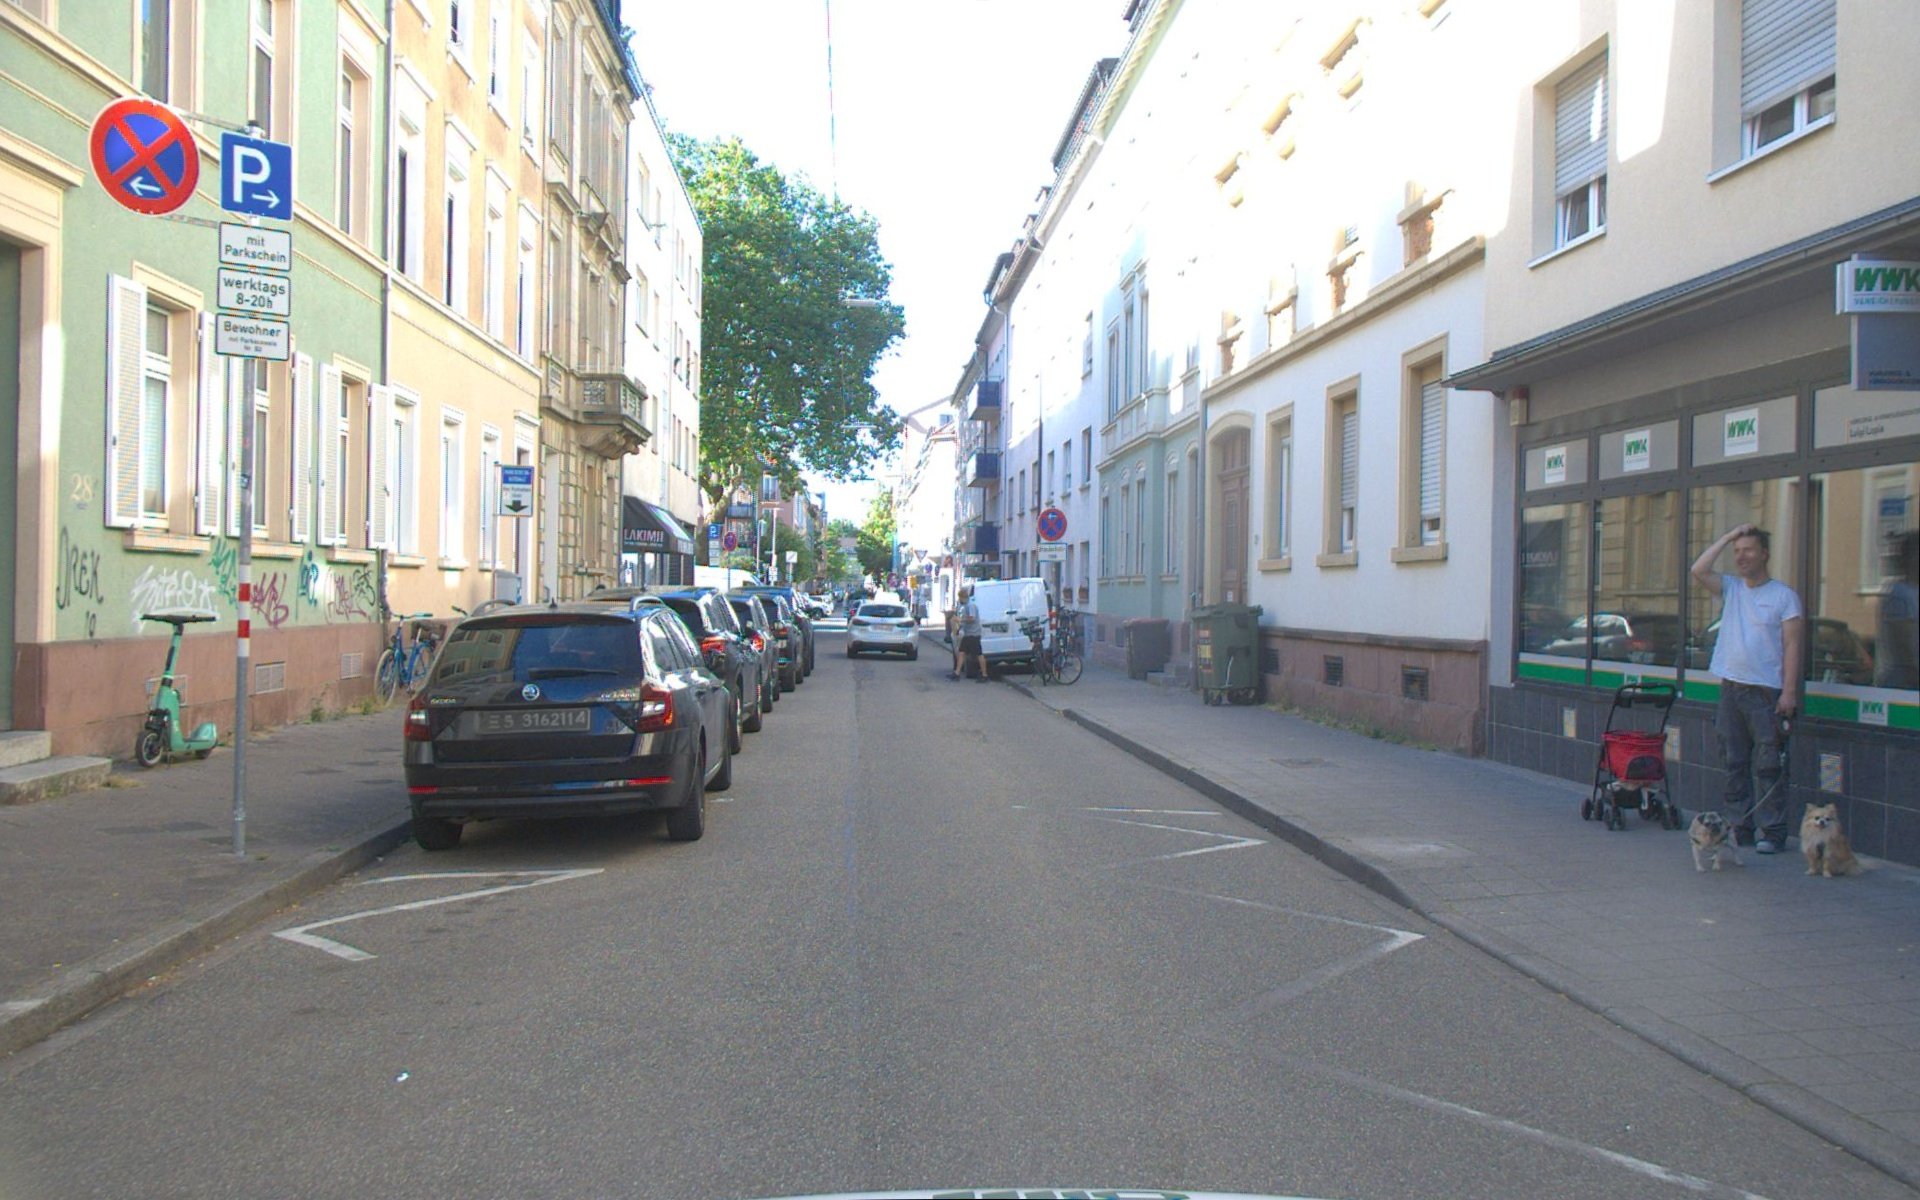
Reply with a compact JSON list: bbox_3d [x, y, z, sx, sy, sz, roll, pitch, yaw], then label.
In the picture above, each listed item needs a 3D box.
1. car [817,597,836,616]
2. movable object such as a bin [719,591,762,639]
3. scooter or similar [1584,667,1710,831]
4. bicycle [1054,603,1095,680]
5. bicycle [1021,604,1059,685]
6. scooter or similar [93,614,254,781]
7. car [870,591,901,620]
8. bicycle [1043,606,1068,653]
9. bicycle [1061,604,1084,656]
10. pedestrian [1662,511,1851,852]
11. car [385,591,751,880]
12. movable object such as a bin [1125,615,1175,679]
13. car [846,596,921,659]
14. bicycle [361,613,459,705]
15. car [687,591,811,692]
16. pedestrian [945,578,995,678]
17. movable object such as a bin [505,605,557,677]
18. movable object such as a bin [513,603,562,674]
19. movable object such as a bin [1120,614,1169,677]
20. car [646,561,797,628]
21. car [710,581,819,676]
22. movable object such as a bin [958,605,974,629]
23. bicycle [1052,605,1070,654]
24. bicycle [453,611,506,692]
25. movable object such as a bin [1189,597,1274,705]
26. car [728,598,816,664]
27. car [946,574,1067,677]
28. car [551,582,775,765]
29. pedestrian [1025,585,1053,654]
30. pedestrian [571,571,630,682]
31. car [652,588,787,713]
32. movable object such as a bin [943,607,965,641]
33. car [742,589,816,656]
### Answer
[{"bbox_3d":[-11.757,0.558,145.998,1.541,1.613,3.608,1,-1,-3],"label":"car"},{"bbox_3d":[-7.235,0.498,54.530,1.271,1.524,1.177,2,-1,-4],"label":"movable object such as a bin"},{"bbox_3d":[4.387,0.935,10.606,0.480,0.961,0.868,0,1,3],"label":"scooter or similar"},{"bbox_3d":[2.015,0.716,29.404,0.563,1.293,2.199,-1,0,0],"label":"bicycle"},{"bbox_3d":[1.397,0.758,29.038,0.563,1.344,2.199,0,0,0],"label":"bicycle"},{"bbox_3d":[-6.065,0.716,12.845,0.444,1.202,1.690,1,-1,-1],"label":"scooter or similar"},{"bbox_3d":[-5.318,0.368,117.400,1.905,1.982,4.073,2,0,-6],"label":"car"},{"bbox_3d":[2.482,0.762,43.239,0.557,1.173,1.868,1,-1,1],"label":"bicycle"},{"bbox_3d":[2.768,0.732,40.830,0.397,1.227,2.159,1,-1,-1],"label":"bicycle"},{"bbox_3d":[4.644,0.442,9.659,0.640,1.892,0.743,-1,1,-26],"label":"pedestrian"},{"bbox_3d":[-2.433,0.734,11.430,1.680,1.514,4.847,-2,0,-4],"label":"car"},{"bbox_3d":[3.364,0.832,29.351,0.781,1.115,0.642,1,-1,-2],"label":"movable object such as a bin"},{"bbox_3d":[-2.013,0.679,42.693,1.788,1.540,3.820,1,0,-4],"label":"car"},{"bbox_3d":[-6.561,0.685,19.816,0.353,1.046,1.918,1,-1,6],"label":"bicycle"},{"bbox_3d":[-3.467,0.640,27.808,1.679,1.558,4.365,0,0,-2],"label":"car"},{"bbox_3d":[0.183,0.532,31.373,0.849,1.869,0.882,1,-1,-6],"label":"pedestrian"},{"bbox_3d":[-6.862,0.656,26.485,0.721,1.108,0.682,1,1,-8],"label":"movable object such as a bin"},{"bbox_3d":[-6.918,0.630,27.103,0.706,1.152,0.584,1,-1,-8],"label":"movable object such as a bin"},{"bbox_3d":[3.344,0.819,30.023,0.796,1.107,0.673,1,-1,-2],"label":"movable object such as a bin"},{"bbox_3d":[-11.038,-0.237,76.956,6.605,2.599,2.144,4,-1,-2],"label":"car"},{"bbox_3d":[-3.856,0.534,33.309,1.898,1.766,5.138,0,0,-4],"label":"car"},{"bbox_3d":[0.260,0.758,75.127,0.687,1.092,0.596,1,-1,-2],"label":"movable object such as a bin"},{"bbox_3d":[2.564,0.743,42.153,0.428,1.227,2.267,1,-1,3],"label":"bicycle"},{"bbox_3d":[-6.717,0.701,23.160,0.394,1.074,1.834,1,-1,-7],"label":"bicycle"},{"bbox_3d":[3.722,0.701,22.772,0.821,1.414,1.295,-1,-2,-5],"label":"movable object such as a bin"},{"bbox_3d":[-4.374,0.710,39.080,1.809,1.442,4.814,-1,-1,-4],"label":"car"},{"bbox_3d":[0.888,0.478,34.975,1.944,1.916,5.595,-3,0,-4],"label":"car"},{"bbox_3d":[-2.941,0.639,17.265,1.709,1.643,4.600,0,0,-3],"label":"car"},{"bbox_3d":[2.012,0.503,42.171,0.641,1.741,0.687,1,-1,8],"label":"pedestrian"},{"bbox_3d":[-5.824,0.415,26.849,0.749,1.744,0.882,2,0,-5],"label":"pedestrian"},{"bbox_3d":[-3.262,0.638,23.047,1.584,1.581,3.974,1,0,-5],"label":"car"},{"bbox_3d":[-0.202,0.795,54.879,0.717,1.100,0.703,1,-1,-3],"label":"movable object such as a bin"},{"bbox_3d":[-4.799,0.570,44.441,1.747,1.696,4.667,0,0,-4],"label":"car"}]
